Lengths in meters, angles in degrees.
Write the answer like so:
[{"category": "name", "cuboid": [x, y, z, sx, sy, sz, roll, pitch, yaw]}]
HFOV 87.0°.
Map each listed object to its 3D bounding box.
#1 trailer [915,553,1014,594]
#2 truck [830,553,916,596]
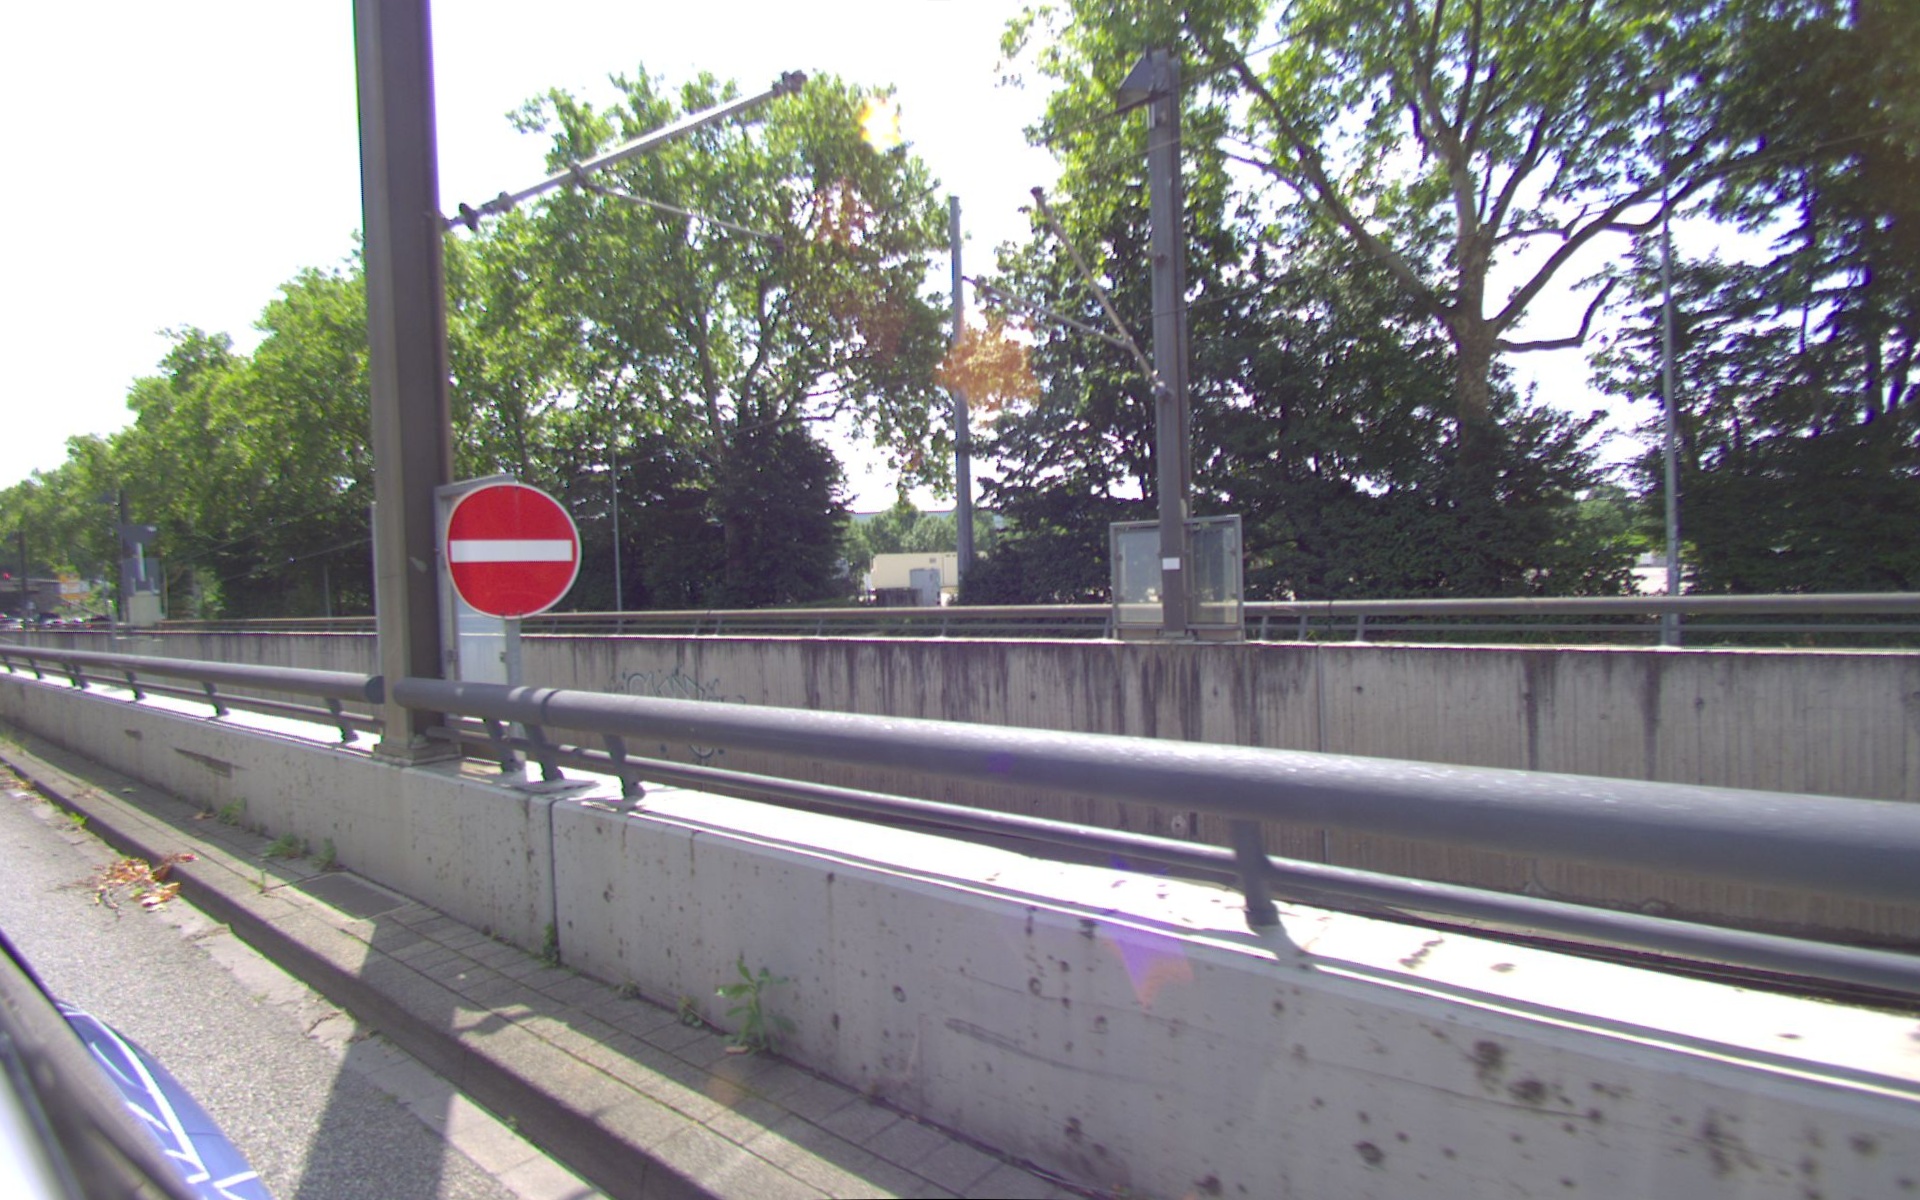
[{"category": "trailer", "cuboid": [0.328, -2.370, 92.460, 8.761, 3.525, 2.870, -1, 0, -3]}, {"category": "truck", "cuboid": [-7.886, -2.294, 91.903, 7.610, 3.689, 3.062, -1, 0, -4]}]
